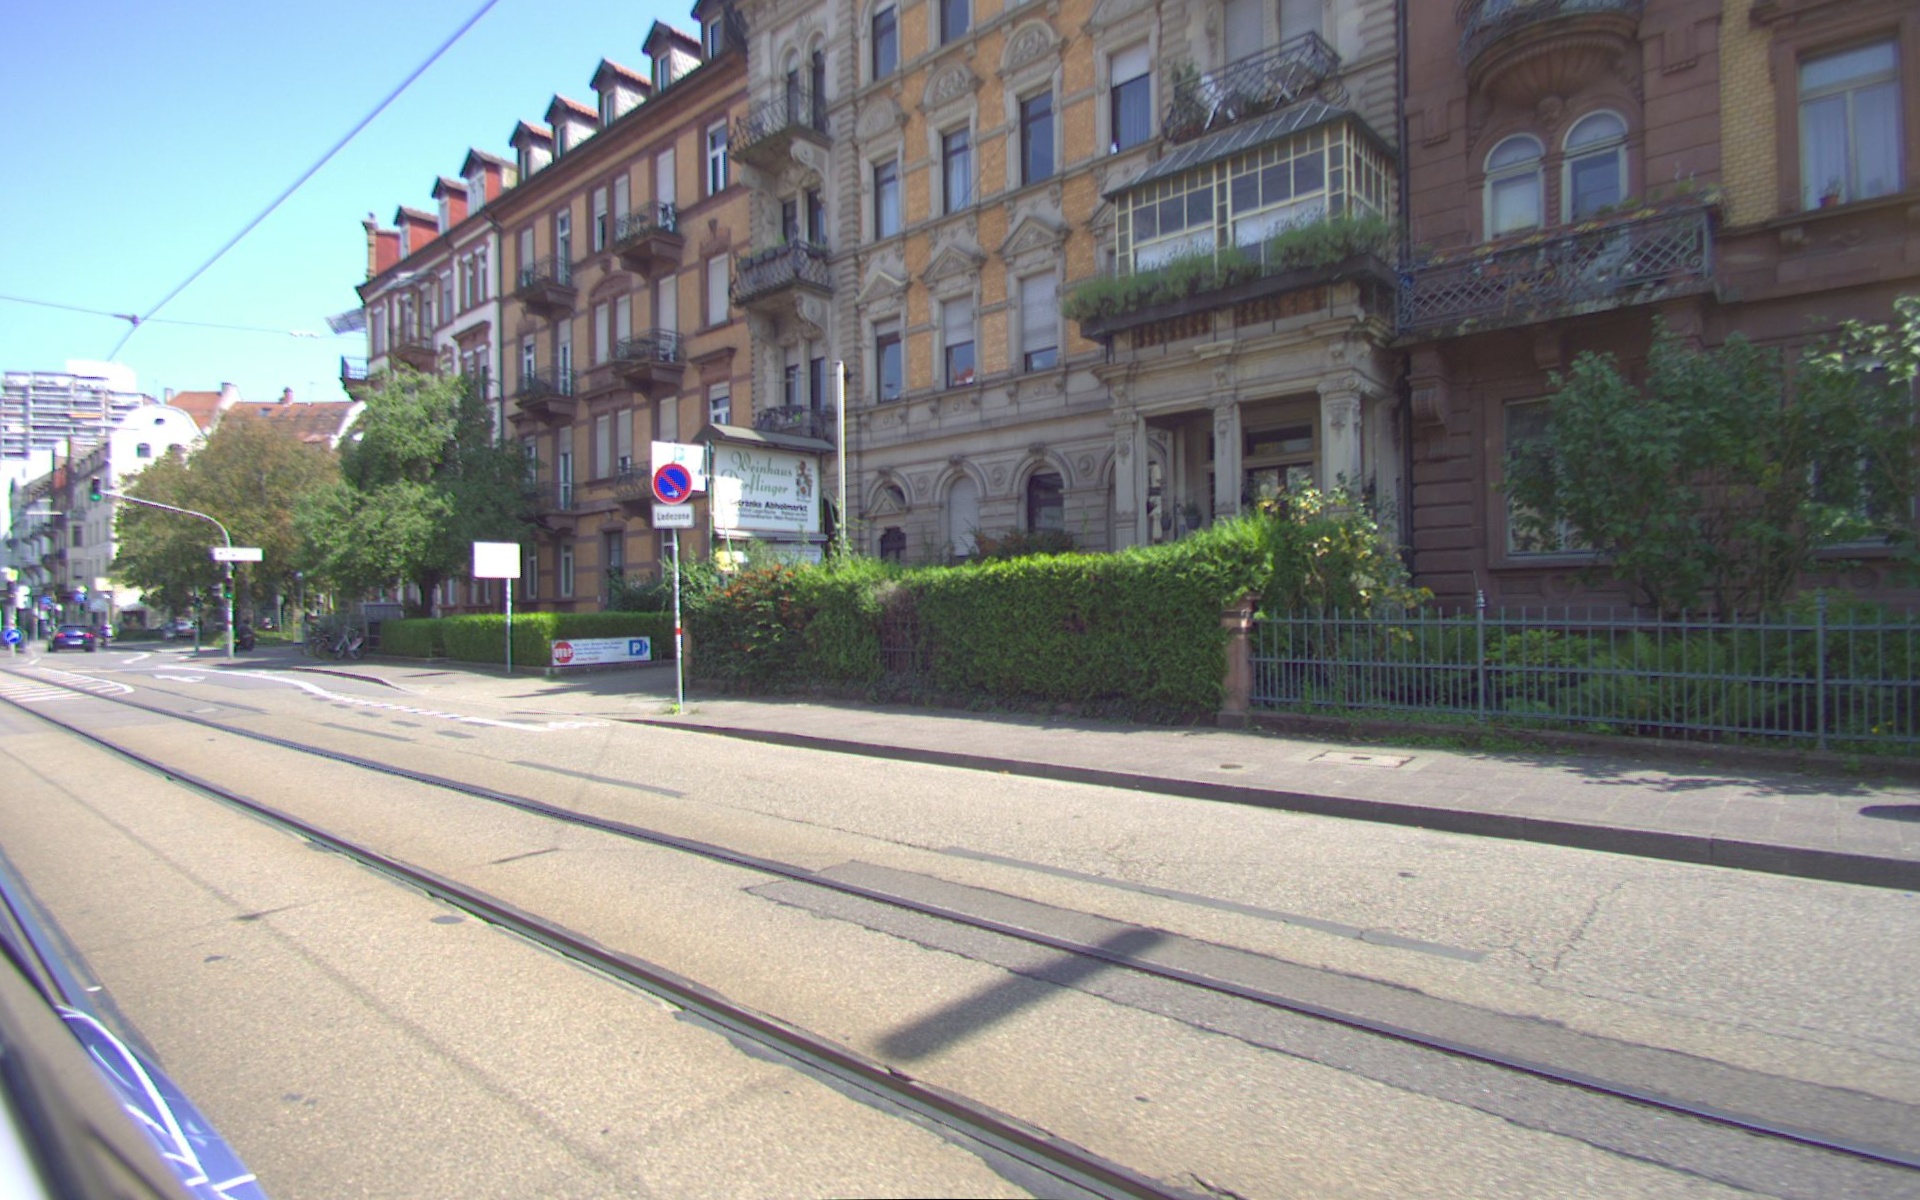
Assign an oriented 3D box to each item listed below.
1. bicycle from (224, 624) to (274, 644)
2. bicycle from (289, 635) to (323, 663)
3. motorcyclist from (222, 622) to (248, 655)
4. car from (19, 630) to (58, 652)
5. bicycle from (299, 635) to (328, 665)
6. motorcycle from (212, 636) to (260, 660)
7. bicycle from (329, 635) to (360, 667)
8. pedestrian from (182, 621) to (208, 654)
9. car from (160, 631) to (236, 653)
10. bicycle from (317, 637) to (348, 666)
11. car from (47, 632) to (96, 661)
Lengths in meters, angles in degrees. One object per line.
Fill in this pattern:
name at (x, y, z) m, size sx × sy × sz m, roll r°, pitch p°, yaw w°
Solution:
bicycle at (-55.336, 2.676, 78.789) m, size 3.450 × 1.447 × 1.218 m, roll -2°, pitch -1°, yaw 13°
bicycle at (-25.527, 1.910, 39.531) m, size 0.481 × 1.005 × 1.834 m, roll -1°, pitch -1°, yaw -11°
motorcyclist at (-34.472, 1.813, 48.127) m, size 0.682 × 1.523 × 0.772 m, roll -1°, pitch -1°, yaw 2°
car at (-76.269, 3.370, 83.733) m, size 4.630 × 1.739 × 1.972 m, roll -2°, pitch -2°, yaw 42°
bicycle at (-23.085, 1.792, 36.146) m, size 1.779 × 1.029 × 0.482 m, roll -2°, pitch -1°, yaw 45°
motorcycle at (-34.464, 2.269, 48.222) m, size 0.684 × 1.039 × 2.156 m, roll -1°, pitch -1°, yaw 2°
bicycle at (-19.939, 1.647, 32.763) m, size 1.657 × 0.994 × 0.482 m, roll -2°, pitch -1°, yaw 45°
pedestrian at (-48.583, 2.351, 64.302) m, size 1.036 × 2.029 × 1.080 m, roll -1°, pitch 1°, yaw 41°
car at (-61.914, 3.415, 82.286) m, size 4.560 × 1.739 × 2.002 m, roll -1°, pitch -2°, yaw -4°
bicycle at (-21.108, 1.727, 34.030) m, size 1.657 × 0.949 × 0.482 m, roll -2°, pitch -1°, yaw 45°
car at (-46.672, 2.413, 53.130) m, size 1.707 × 1.444 × 4.179 m, roll 0°, pitch -1°, yaw -45°
